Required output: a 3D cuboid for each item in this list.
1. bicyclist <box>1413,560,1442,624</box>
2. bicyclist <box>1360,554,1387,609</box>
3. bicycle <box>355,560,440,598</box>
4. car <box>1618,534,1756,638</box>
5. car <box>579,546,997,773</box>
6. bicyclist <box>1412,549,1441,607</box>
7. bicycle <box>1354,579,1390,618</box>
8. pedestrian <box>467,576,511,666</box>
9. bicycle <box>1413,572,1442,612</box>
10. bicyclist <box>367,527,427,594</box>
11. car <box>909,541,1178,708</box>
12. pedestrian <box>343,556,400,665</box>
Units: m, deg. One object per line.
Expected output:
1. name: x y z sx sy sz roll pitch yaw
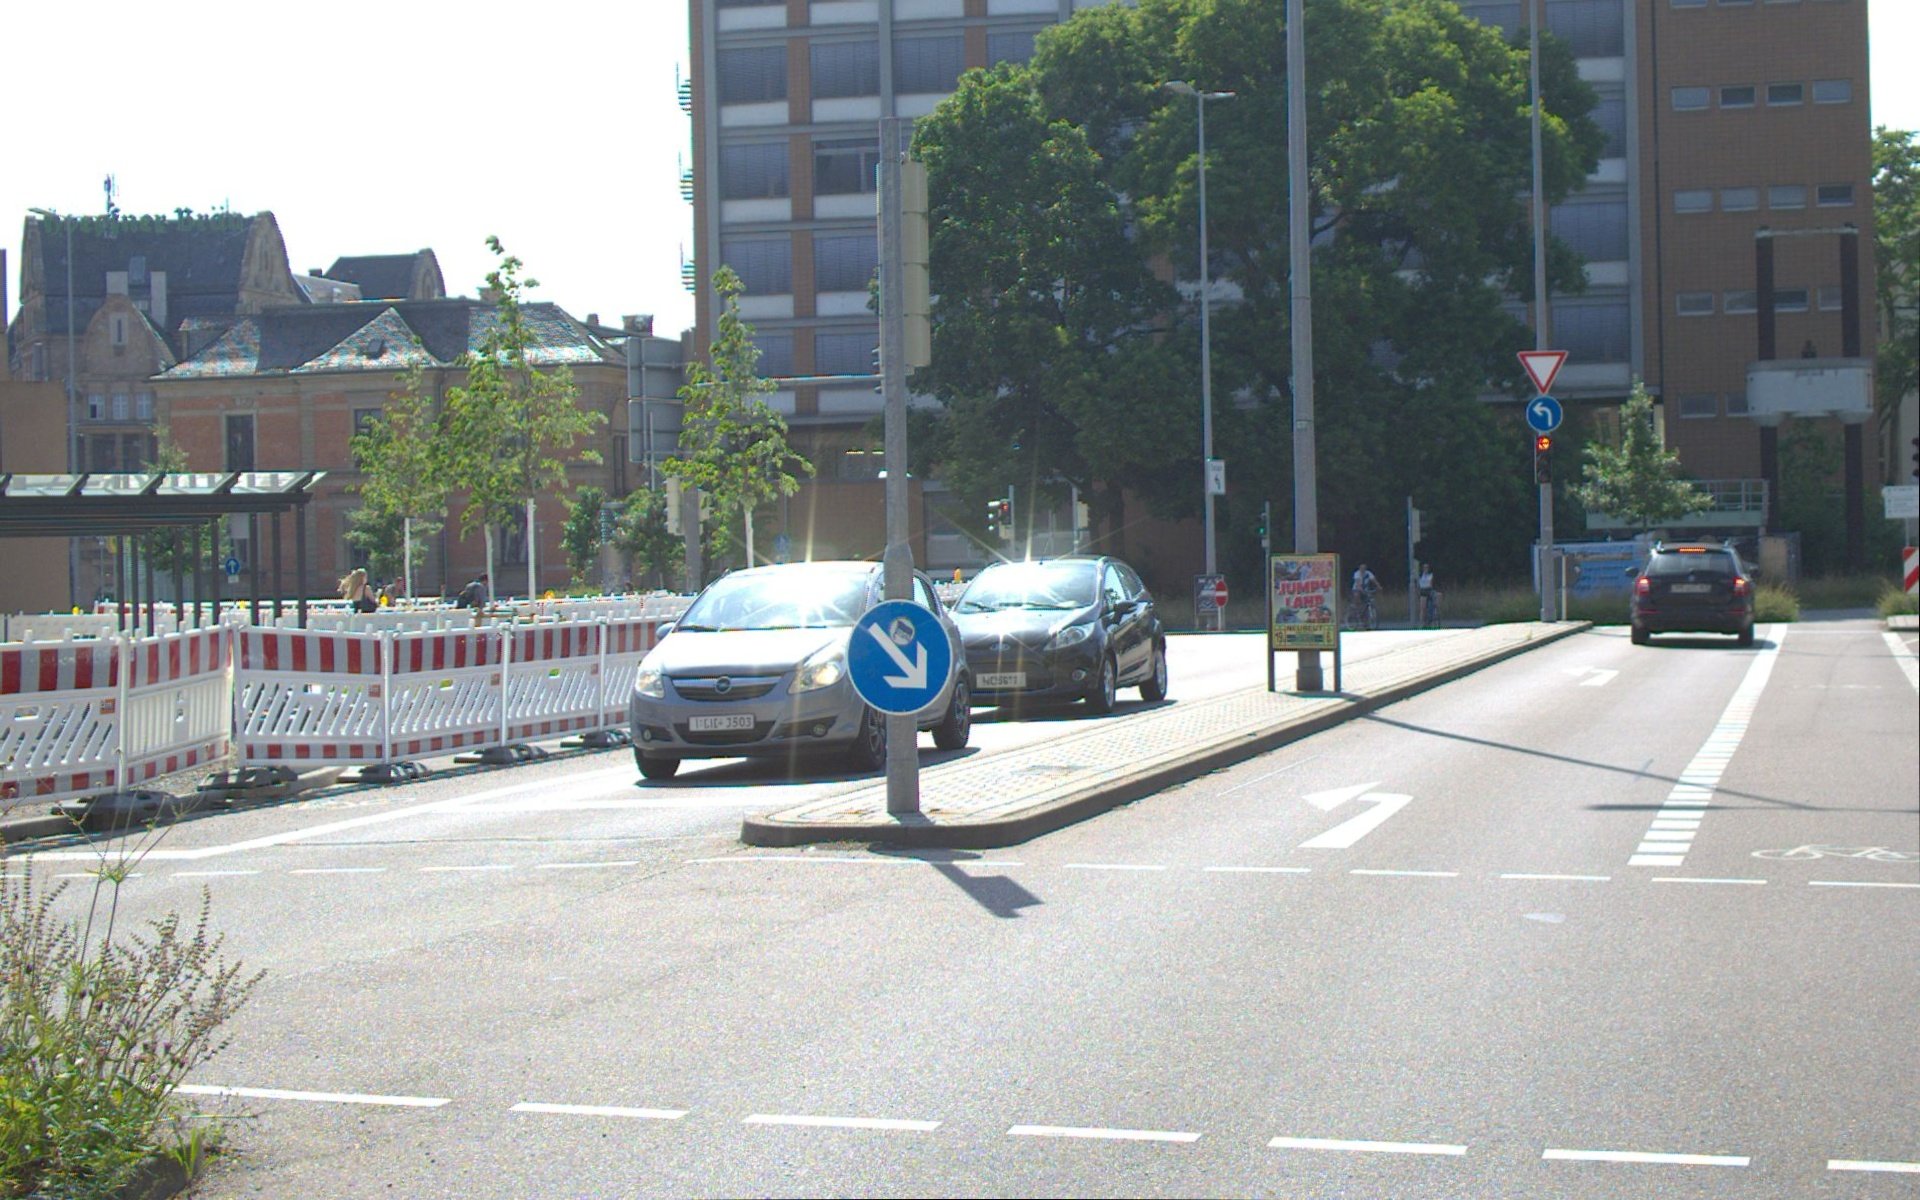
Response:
1. bicyclist: 11.947 -0.202 87.803 0.618 1.576 1.013 -4 0 10
2. bicyclist: 10.905 -0.488 90.670 0.539 1.412 1.029 -2 -1 13
3. bicycle: -12.621 -0.471 77.157 1.892 0.790 0.559 -1 2 27
4. car: 10.634 -0.233 50.136 1.781 1.438 3.815 1 1 15
5. car: -1.126 0.368 24.553 1.795 1.407 3.997 -3 0 15
6. bicyclist: 11.925 -0.556 87.804 0.618 1.438 0.920 -4 0 10
7. bicycle: 10.873 -0.045 90.682 0.704 0.974 2.030 -2 1 12
8. pedestrian: -7.933 0.346 57.945 0.630 1.486 0.617 -2 0 -2
9. bicycle: 11.947 -0.202 87.803 0.618 0.957 1.967 -4 0 10
10. bicyclist: -12.633 -0.881 77.154 1.167 1.469 0.563 -1 1 27
11. car: 0.841 0.177 31.999 1.667 1.446 3.815 0 1 15
12. pedestrian: -9.645 0.176 56.383 0.736 1.746 1.111 -2 -2 -2
